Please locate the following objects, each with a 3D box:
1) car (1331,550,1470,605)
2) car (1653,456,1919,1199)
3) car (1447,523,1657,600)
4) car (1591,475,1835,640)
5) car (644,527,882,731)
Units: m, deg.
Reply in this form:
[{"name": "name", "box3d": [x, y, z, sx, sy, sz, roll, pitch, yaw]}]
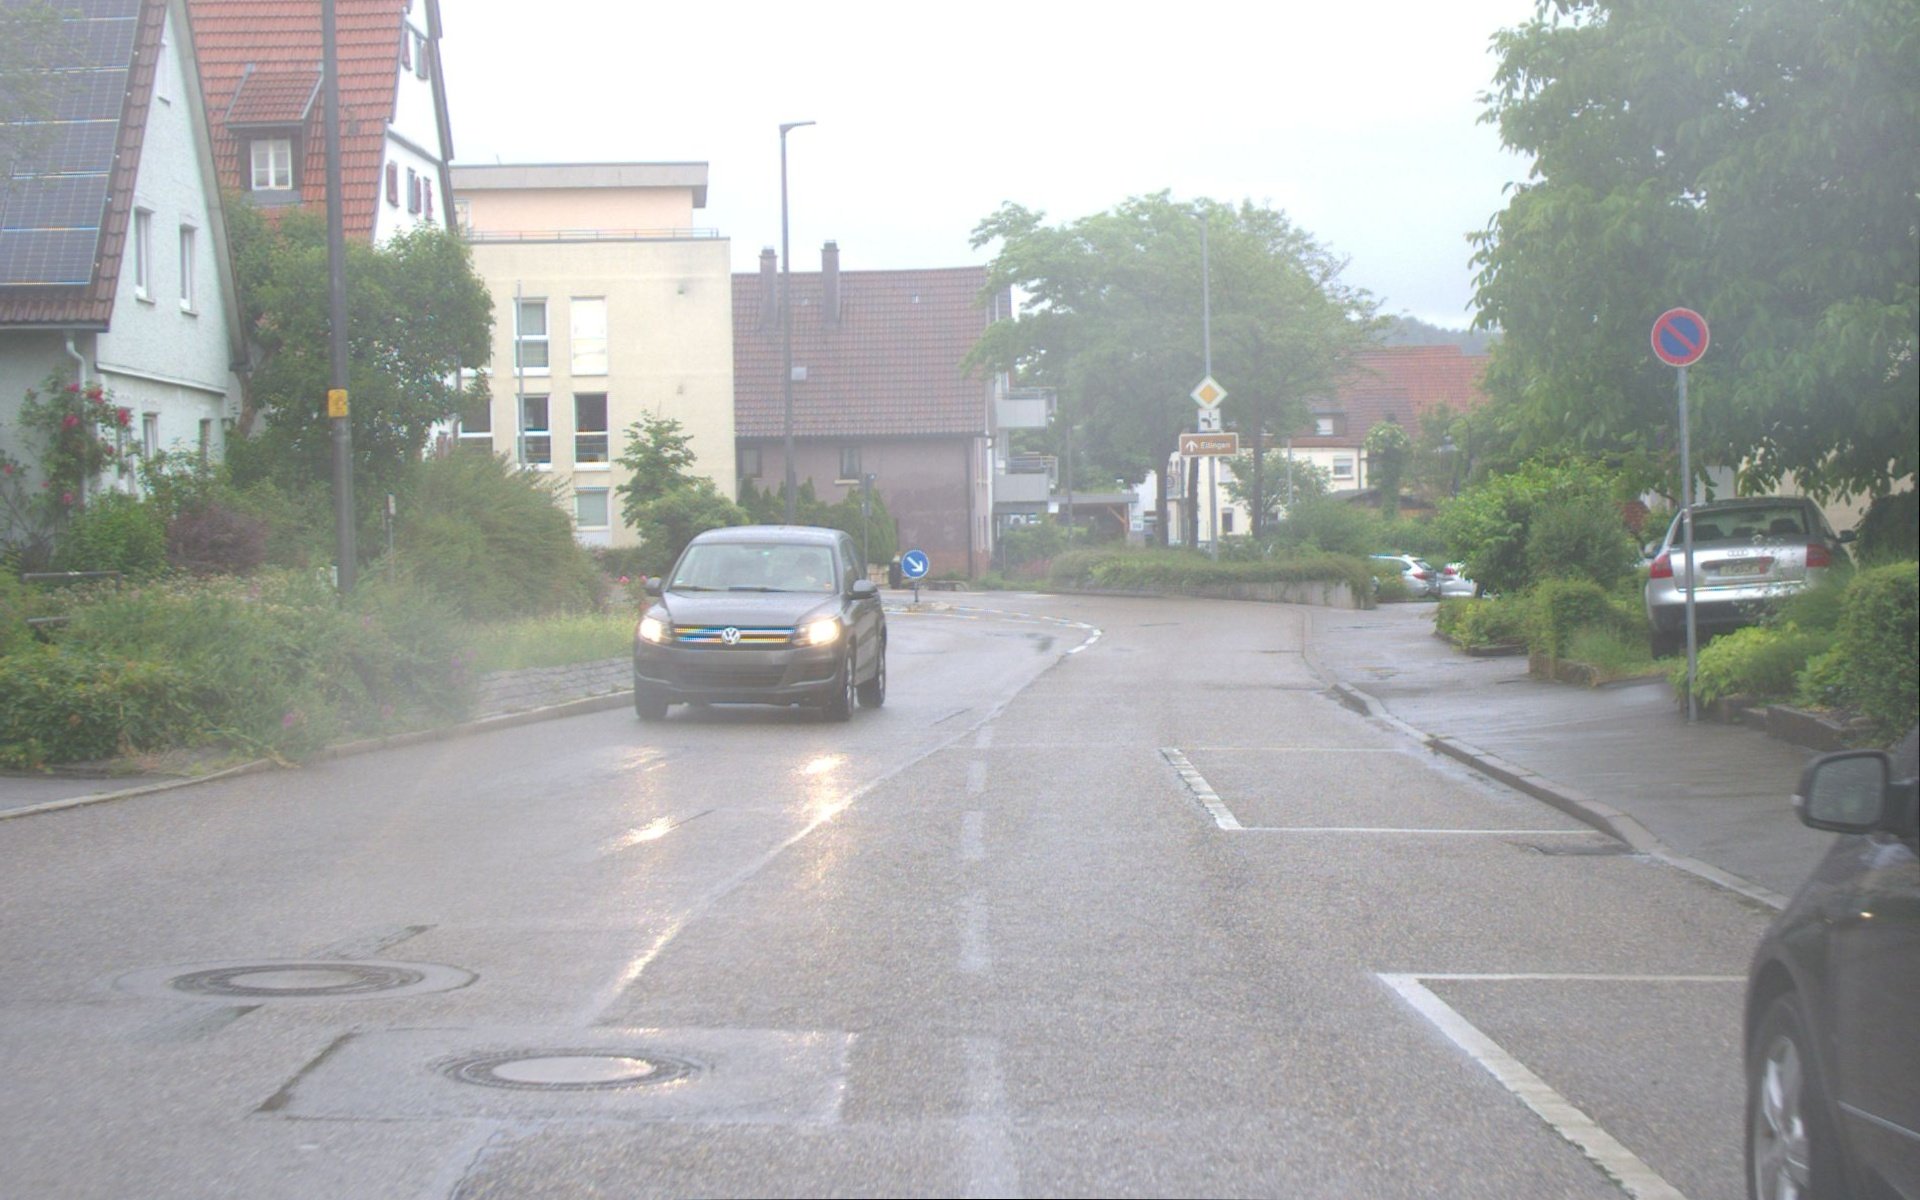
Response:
[{"name": "car", "box3d": [13.652, -0.713, 106.537, 3.990, 1.620, 1.998, -1, 1, 17]}, {"name": "car", "box3d": [2.440, 0.603, 5.585, 1.749, 1.704, 4.000, -1, 1, -1]}, {"name": "car", "box3d": [11.924, -0.771, 69.123, 3.956, 1.404, 1.999, -2, 0, 15]}, {"name": "car", "box3d": [6.970, -0.405, 32.124, 1.638, 1.425, 3.677, -1, 1, 3]}, {"name": "car", "box3d": [-1.634, 0.193, 29.726, 1.798, 1.634, 4.000, 0, 1, 0]}]
